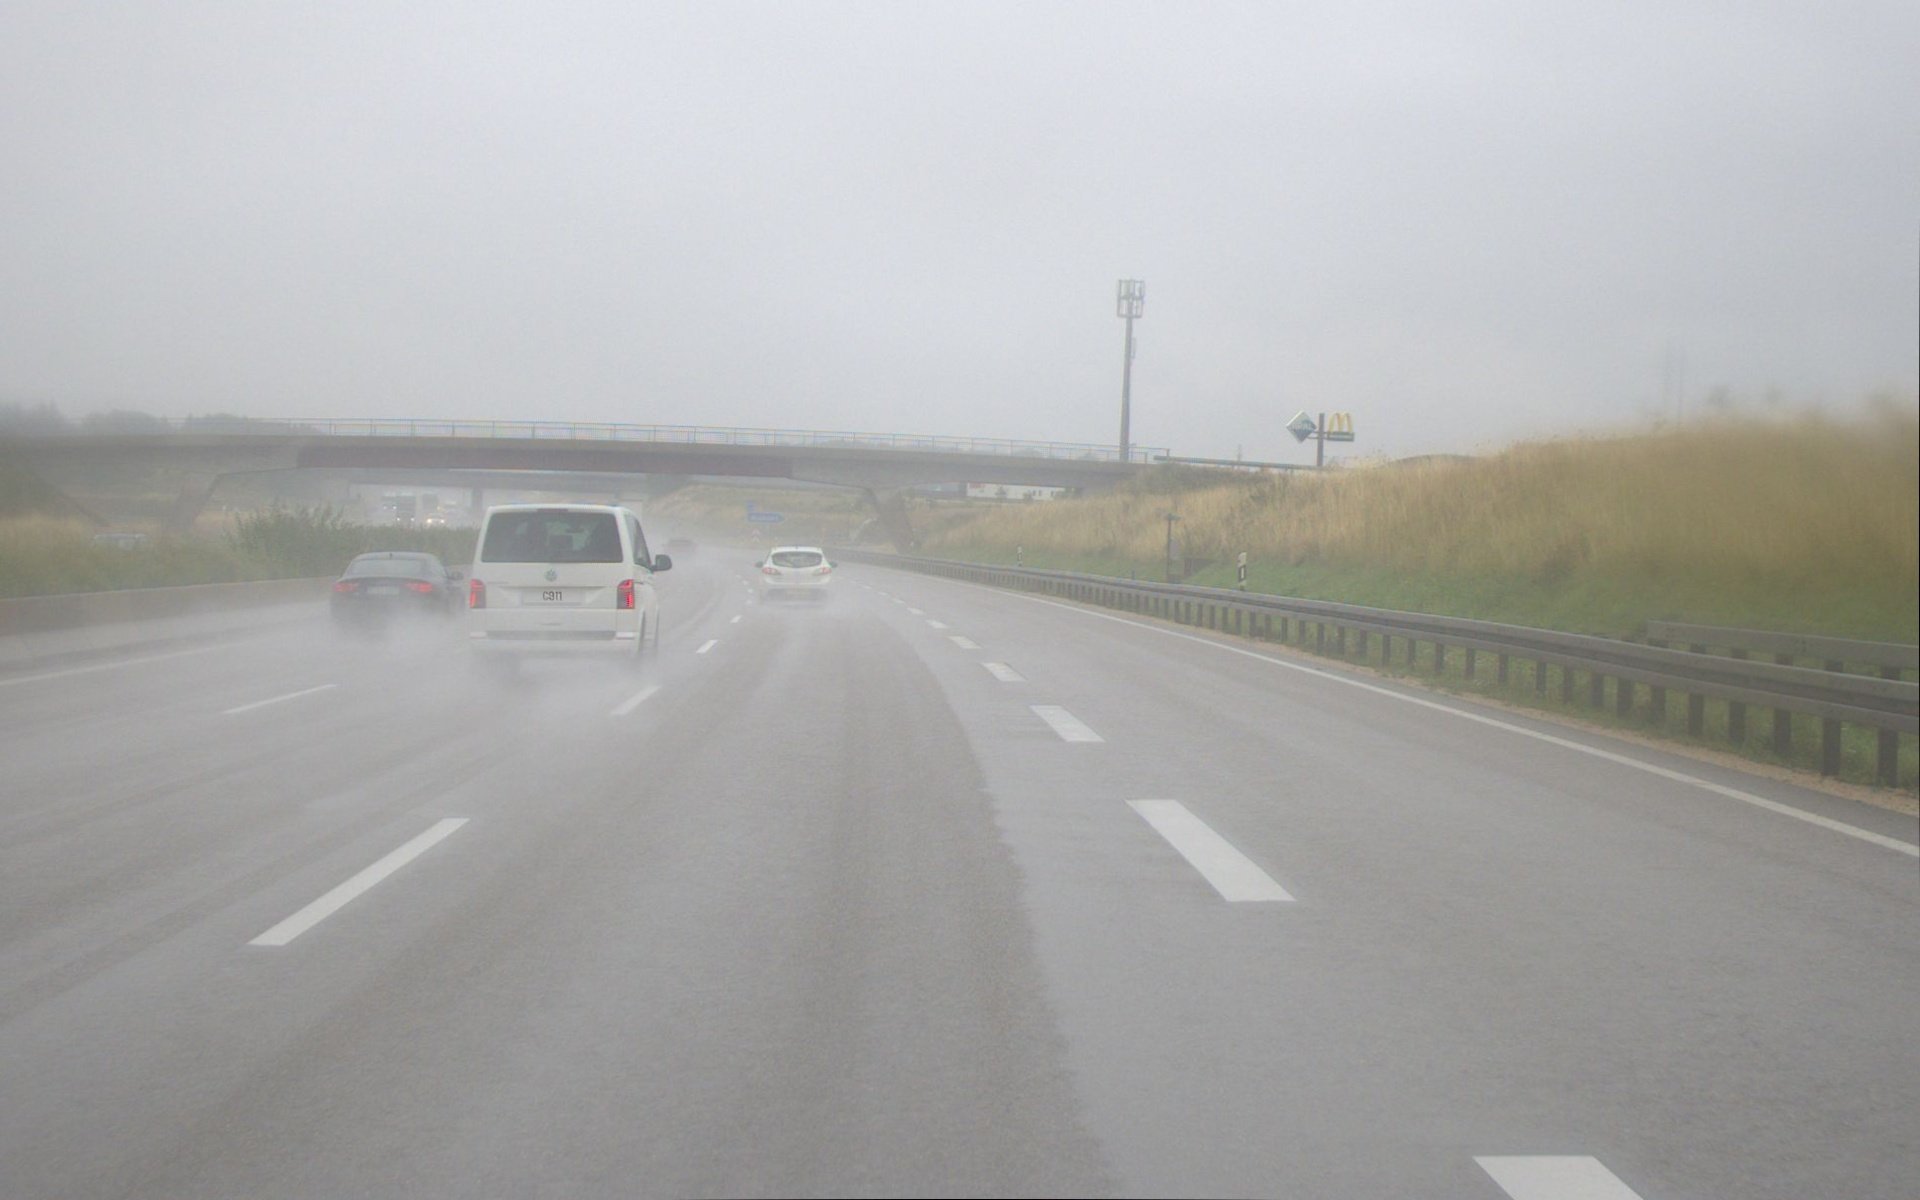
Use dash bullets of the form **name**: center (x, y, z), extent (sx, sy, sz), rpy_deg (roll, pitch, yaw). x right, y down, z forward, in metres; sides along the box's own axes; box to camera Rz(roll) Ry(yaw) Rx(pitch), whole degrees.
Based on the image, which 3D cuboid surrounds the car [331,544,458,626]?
- **car**: center (-9.030, -0.258, 55.076), extent (1.468, 1.253, 3.340), rpy_deg (0, 1, 0)

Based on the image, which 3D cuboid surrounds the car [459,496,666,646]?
- **car**: center (-4.424, -0.339, 38.756), extent (1.897, 1.580, 4.000), rpy_deg (1, 1, -1)

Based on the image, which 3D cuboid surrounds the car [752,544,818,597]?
- **car**: center (-4.148, -0.716, 81.761), extent (1.468, 1.204, 2.992), rpy_deg (1, 1, -1)
